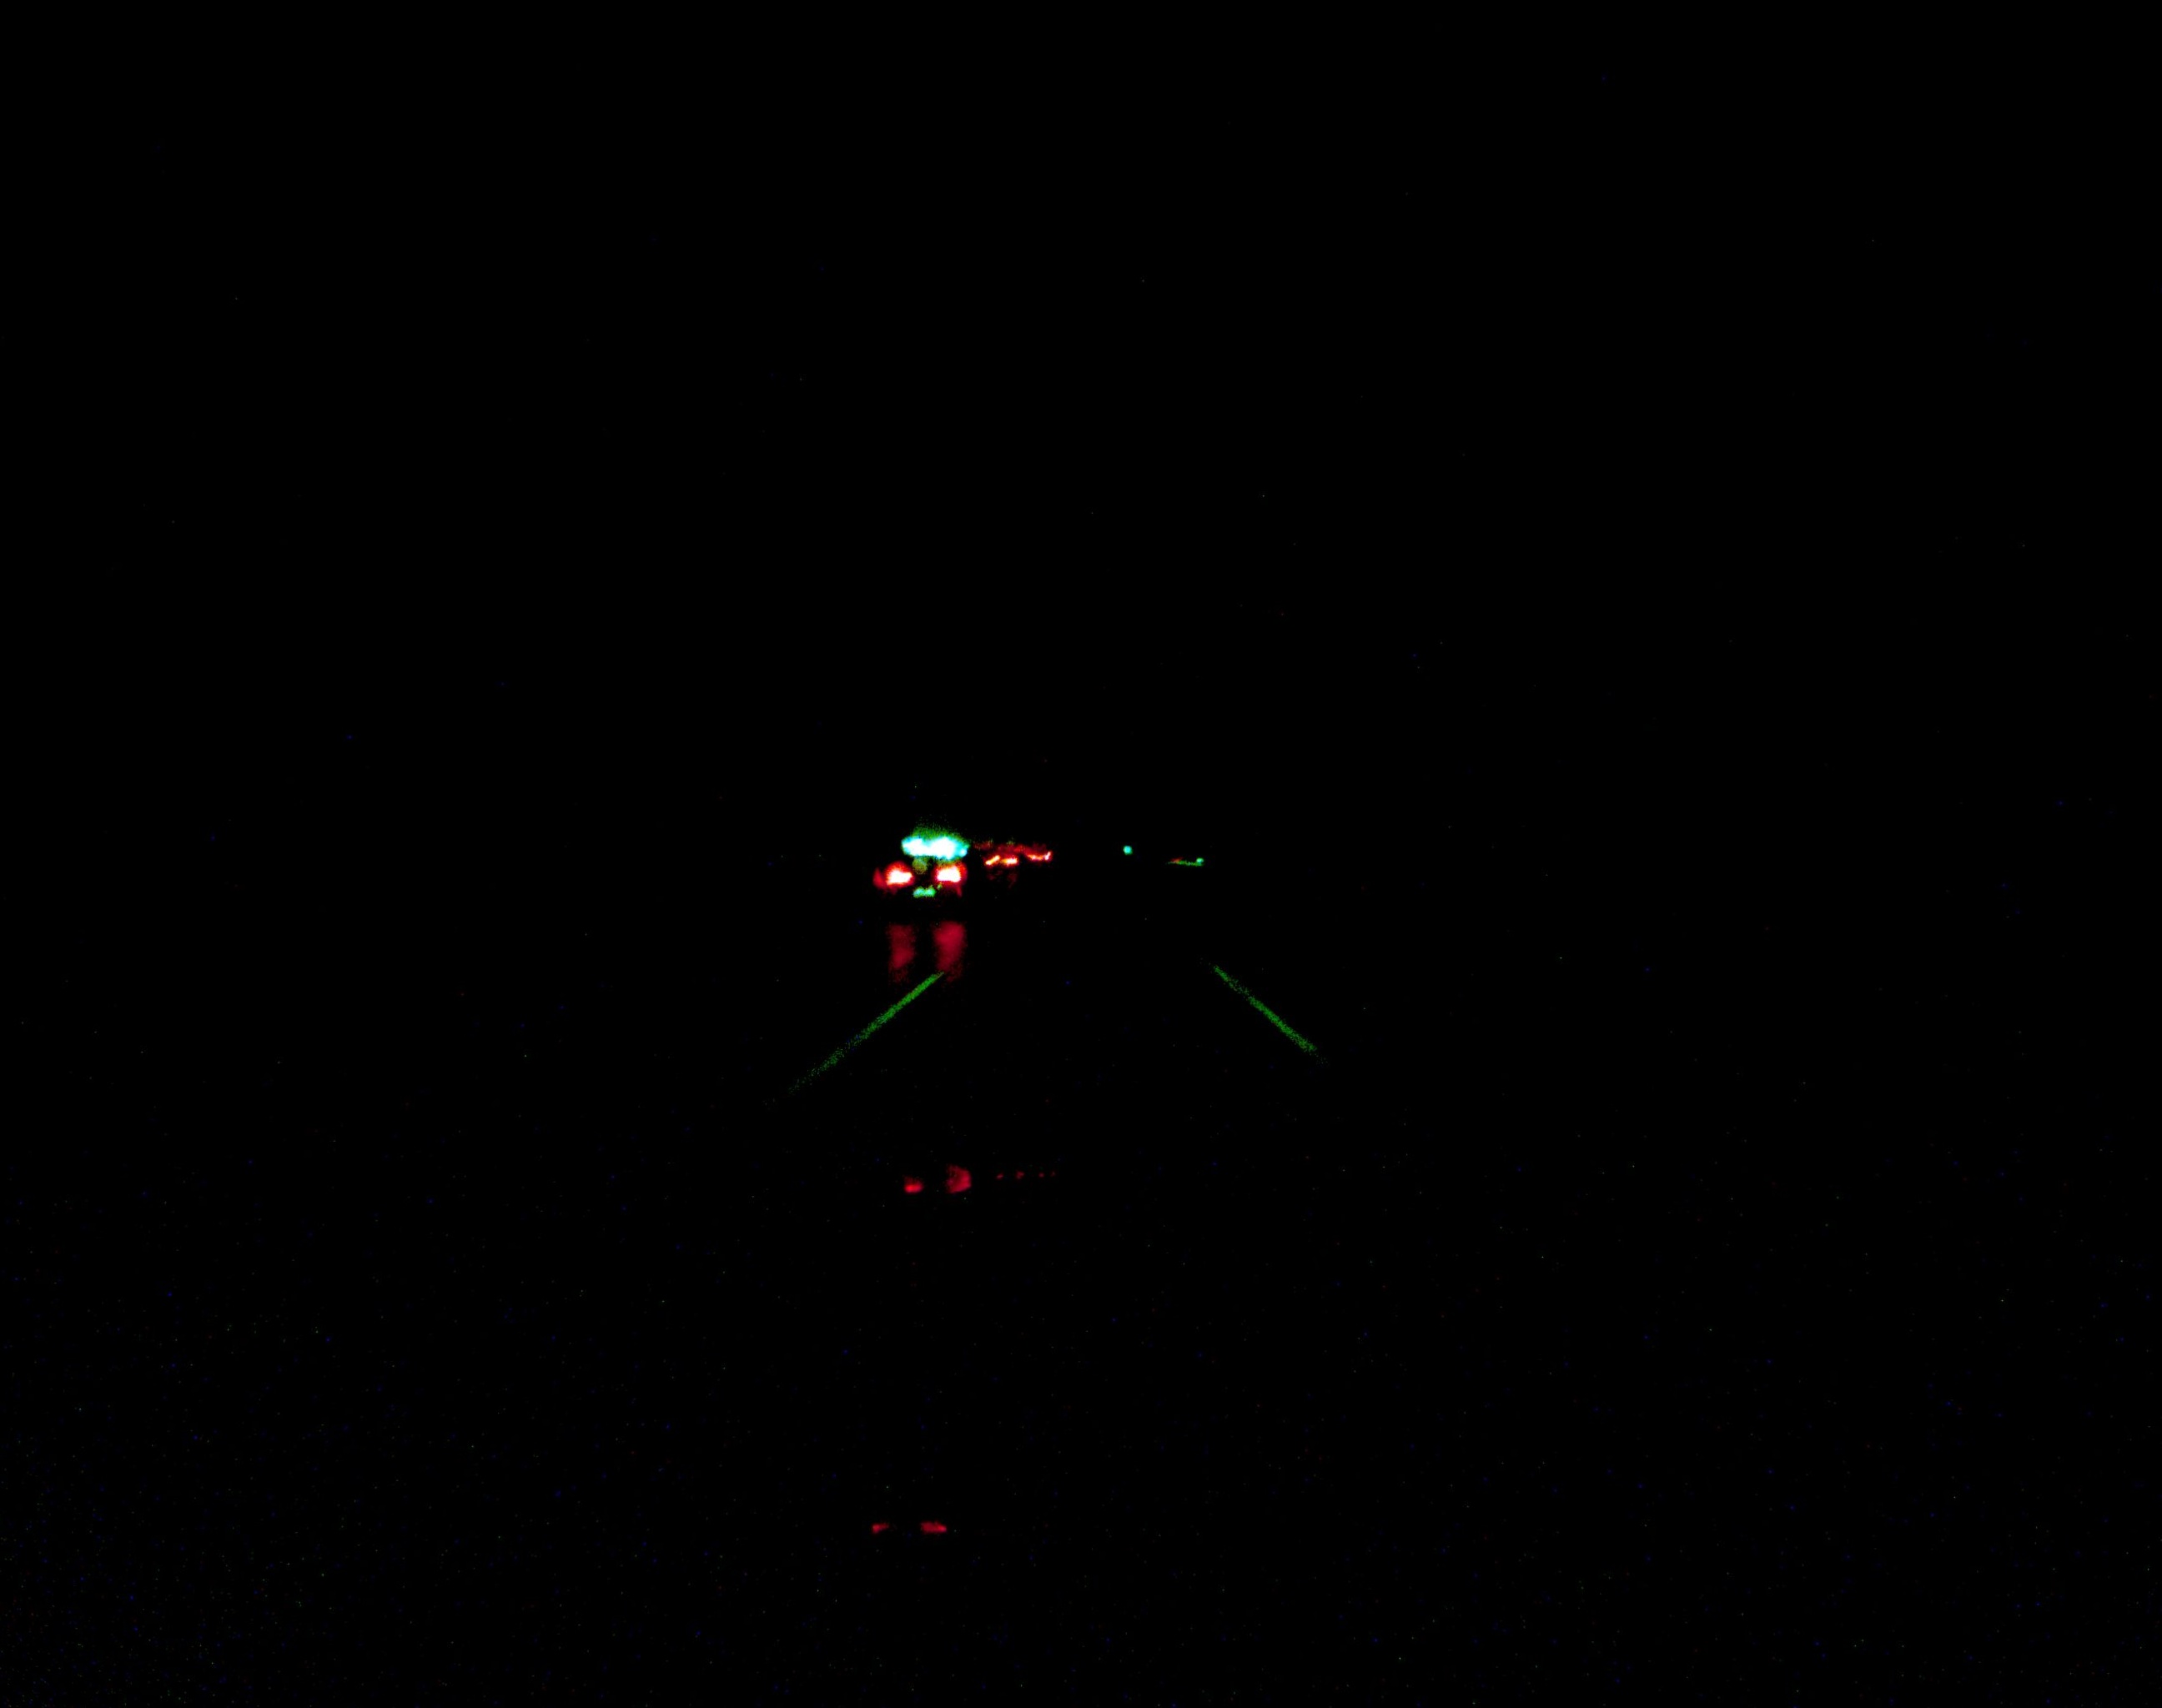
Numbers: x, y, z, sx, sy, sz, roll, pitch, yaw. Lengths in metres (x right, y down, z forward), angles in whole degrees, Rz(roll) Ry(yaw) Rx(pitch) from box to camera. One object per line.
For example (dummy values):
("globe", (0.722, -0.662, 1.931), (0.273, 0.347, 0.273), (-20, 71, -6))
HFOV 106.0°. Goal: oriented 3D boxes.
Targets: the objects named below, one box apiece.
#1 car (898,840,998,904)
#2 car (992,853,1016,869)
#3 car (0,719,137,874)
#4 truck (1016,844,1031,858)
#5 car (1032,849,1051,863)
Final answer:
("car", (-3.659, 0.457, 23.293), (1.851, 1.540, 4.753), (3, 0, 2))
("car", (-6.121, 0.589, 64.764), (1.658, 1.236, 3.758), (0, 0, -2))
("car", (-16.054, -0.781, 10.141), (2.137, 2.162, 5.543), (-1, 0, -1))
("truck", (-12.505, -0.657, 176.267), (1.997, 3.043, 6.433), (0, -1, -14))
("car", (-4.387, 0.253, 90.243), (1.795, 1.487, 4.001), (-1, 0, 2))
